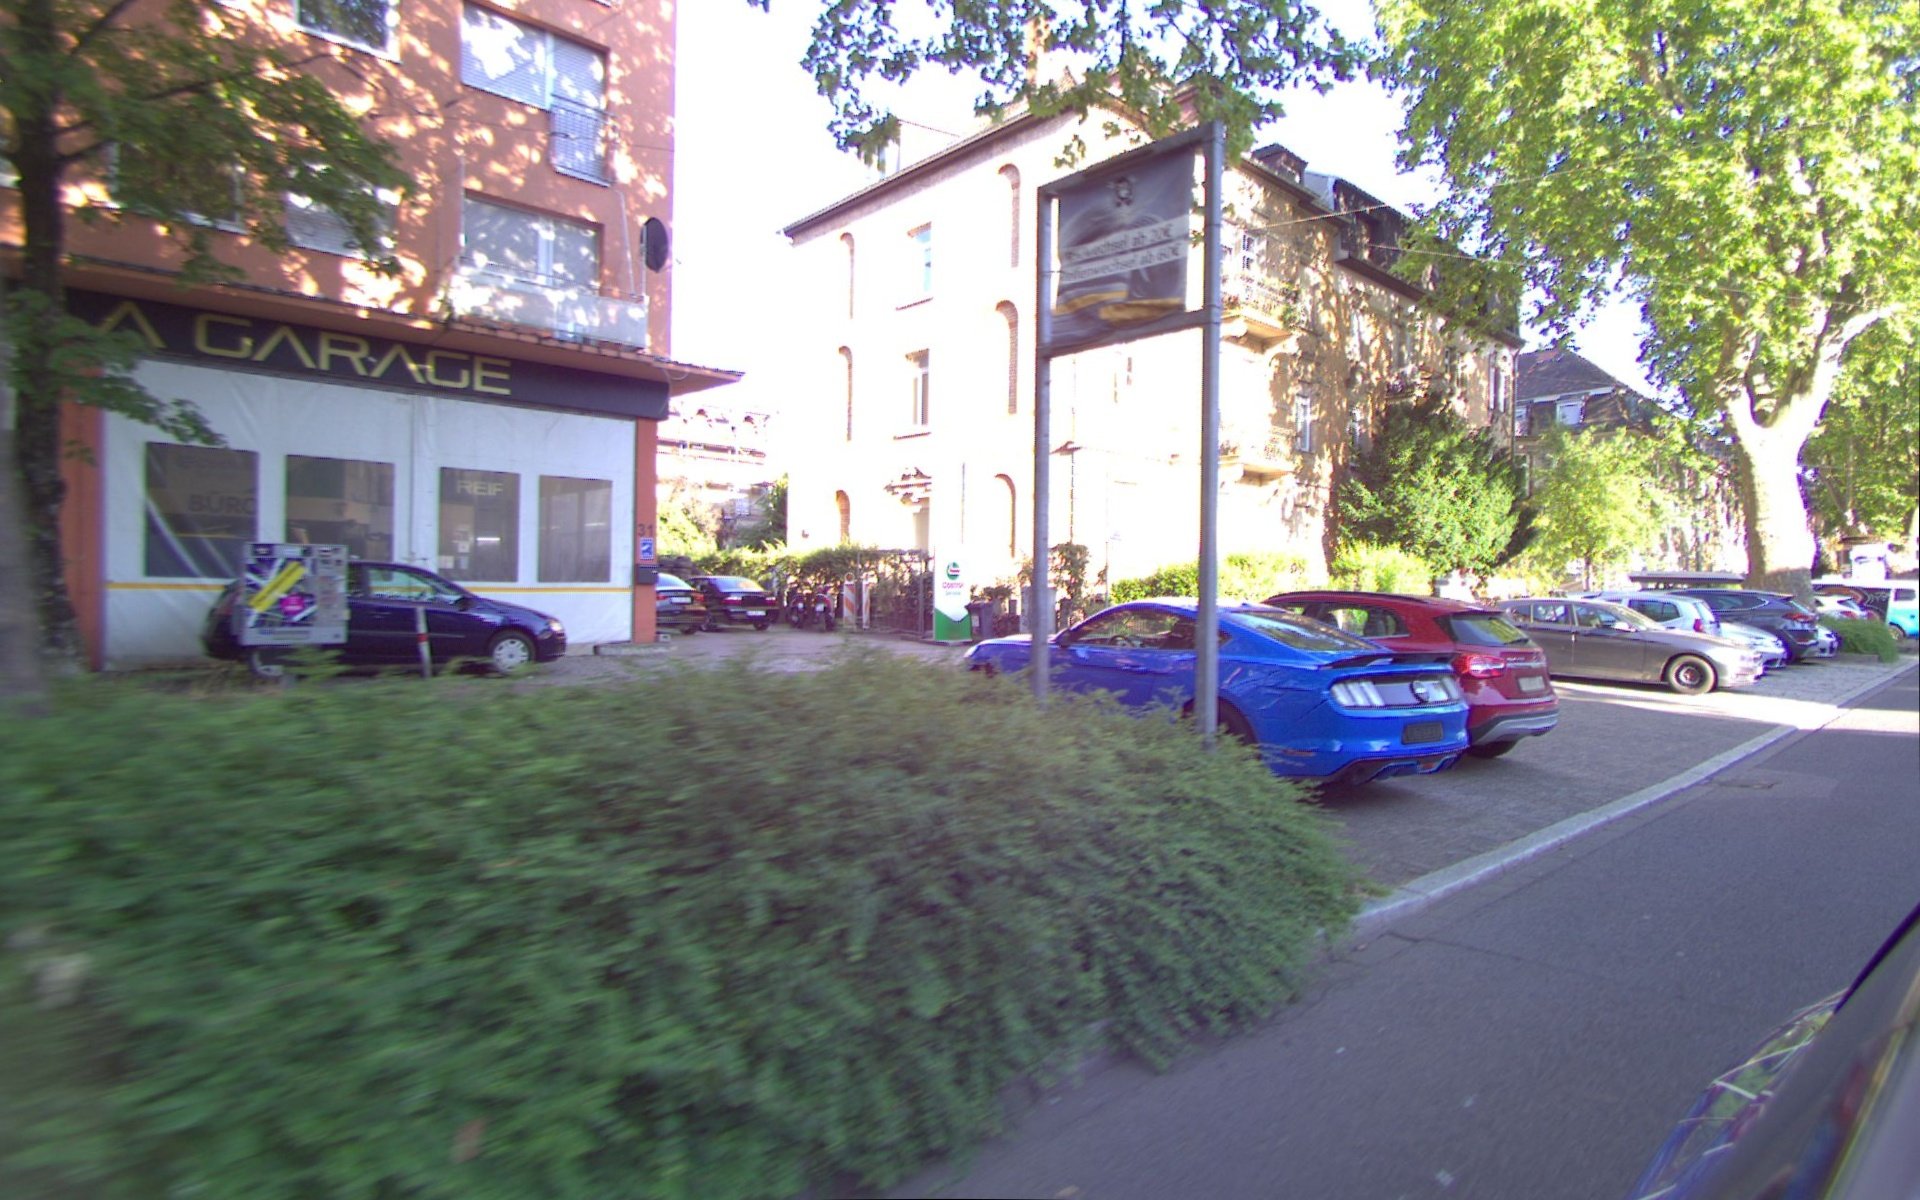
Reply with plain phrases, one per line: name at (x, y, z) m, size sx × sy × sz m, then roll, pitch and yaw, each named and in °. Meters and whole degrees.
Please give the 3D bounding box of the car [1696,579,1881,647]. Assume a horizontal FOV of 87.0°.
car at (23.134, 0.310, 28.333) m, size 1.761 × 1.638 × 3.786 m, roll 0°, pitch 3°, yaw -44°

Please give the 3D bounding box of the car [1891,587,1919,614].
car at (60.115, 0.110, 61.762) m, size 1.858 × 1.585 × 4.612 m, roll 1°, pitch 1°, yaw -39°

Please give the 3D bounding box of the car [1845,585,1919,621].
car at (46.690, 0.191, 49.602) m, size 1.860 × 1.651 × 4.807 m, roll 1°, pitch 1°, yaw -41°

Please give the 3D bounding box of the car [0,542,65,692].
car at (-11.146, 0.143, 9.280) m, size 4.391 × 1.452 × 1.751 m, roll 0°, pitch 2°, yaw -42°

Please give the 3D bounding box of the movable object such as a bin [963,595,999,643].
movable object such as a bin at (0.427, 0.378, 20.977) m, size 0.438 × 0.951 × 0.659 m, roll -1°, pitch 2°, yaw -37°

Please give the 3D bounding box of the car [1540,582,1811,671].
car at (14.547, 0.456, 20.776) m, size 1.785 × 1.593 × 4.209 m, roll 0°, pitch 1°, yaw -39°

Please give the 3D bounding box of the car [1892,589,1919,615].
car at (58.306, 0.174, 59.746) m, size 1.858 × 1.513 × 4.612 m, roll 1°, pitch 1°, yaw -39°

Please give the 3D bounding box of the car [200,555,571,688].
car at (-7.266, 0.197, 13.007) m, size 3.882 × 1.452 × 1.751 m, roll 0°, pitch 2°, yaw -42°

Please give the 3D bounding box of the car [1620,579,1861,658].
car at (18.335, 0.359, 23.932) m, size 1.785 × 1.639 × 4.209 m, roll 0°, pitch 1°, yaw -39°

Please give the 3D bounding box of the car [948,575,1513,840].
car at (1.873, 0.598, 8.376) m, size 1.783 × 1.562 × 4.419 m, roll 0°, pitch 1°, yaw -35°

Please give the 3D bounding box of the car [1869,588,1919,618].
car at (52.075, 0.219, 54.362) m, size 1.858 × 1.513 × 4.612 m, roll 1°, pitch 1°, yaw -39°

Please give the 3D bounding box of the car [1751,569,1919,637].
car at (29.700, 0.054, 33.848) m, size 2.159 × 2.038 × 4.850 m, roll 0°, pitch 3°, yaw -45°

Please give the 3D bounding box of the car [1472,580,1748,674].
car at (12.575, 0.436, 19.813) m, size 1.785 × 1.575 × 4.209 m, roll 0°, pitch 1°, yaw -39°

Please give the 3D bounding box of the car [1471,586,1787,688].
car at (11.294, 0.530, 17.309) m, size 1.786 × 1.466 × 4.206 m, roll 0°, pitch 1°, yaw -42°

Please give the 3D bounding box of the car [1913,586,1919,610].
car at (69.087, -0.031, 69.859) m, size 1.858 × 1.661 × 4.612 m, roll 1°, pitch 1°, yaw -39°

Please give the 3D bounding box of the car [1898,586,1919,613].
car at (61.639, 0.065, 62.934) m, size 1.858 × 1.661 × 4.612 m, roll 1°, pitch 1°, yaw -39°

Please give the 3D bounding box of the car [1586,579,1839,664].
car at (16.393, 0.380, 22.187) m, size 1.848 × 1.639 × 4.203 m, roll 0°, pitch 1°, yaw -44°

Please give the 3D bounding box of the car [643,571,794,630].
car at (-6.158, -0.027, 25.563) m, size 1.911 × 1.343 × 3.989 m, roll 0°, pitch 2°, yaw -45°

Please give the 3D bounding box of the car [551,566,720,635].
car at (-7.470, -0.042, 23.127) m, size 3.984 × 1.407 × 1.914 m, roll 2°, pitch 2°, yaw 41°

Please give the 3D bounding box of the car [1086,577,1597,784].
car at (3.527, 0.576, 10.096) m, size 1.917 × 1.562 × 4.413 m, roll 0°, pitch 1°, yaw -39°

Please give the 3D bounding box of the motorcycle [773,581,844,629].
motorcycle at (-3.839, 0.104, 25.514) m, size 0.792 × 1.116 × 2.386 m, roll 0°, pitch 1°, yaw -35°
